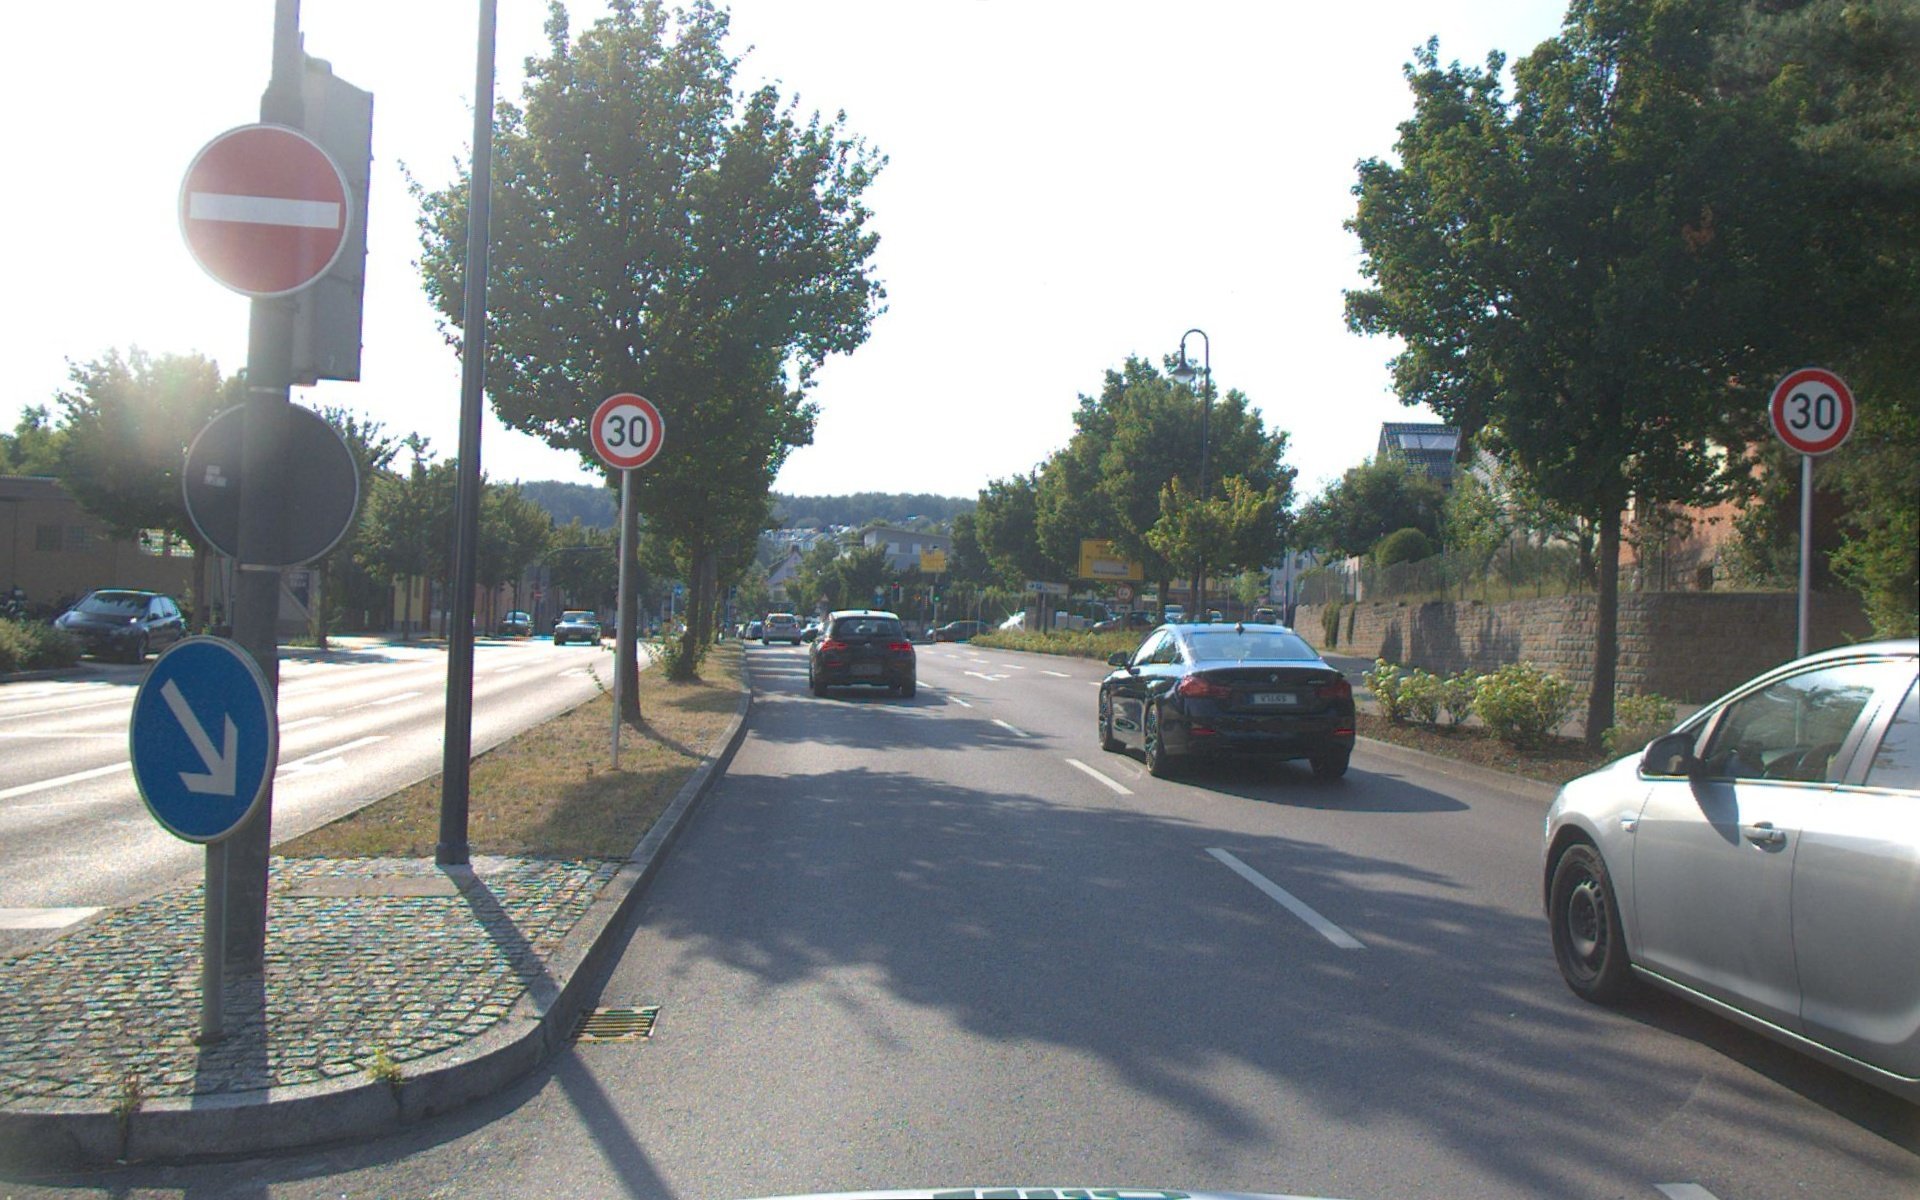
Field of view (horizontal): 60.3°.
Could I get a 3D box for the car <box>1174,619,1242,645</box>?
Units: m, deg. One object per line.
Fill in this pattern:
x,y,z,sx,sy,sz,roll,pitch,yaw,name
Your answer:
18.329,2.334,122.240,4.547,1.861,1.995,1,-1,-11,car

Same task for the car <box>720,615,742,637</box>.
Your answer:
-21.814,2.474,157.444,1.737,2.049,3.997,1,0,-3,car

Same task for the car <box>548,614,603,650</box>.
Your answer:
-15.616,1.297,67.353,1.723,1.385,4.477,1,0,-7,car

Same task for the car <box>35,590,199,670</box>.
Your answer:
-18.062,0.628,35.647,1.723,1.479,4.126,5,-1,-7,car

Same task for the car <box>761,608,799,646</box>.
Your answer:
-8.803,1.320,80.835,1.723,1.800,3.963,1,-1,-8,car

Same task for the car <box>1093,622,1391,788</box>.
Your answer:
2.569,0.916,16.143,1.883,1.388,4.349,1,-1,-4,car

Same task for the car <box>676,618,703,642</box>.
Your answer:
-19.743,2.194,120.740,1.697,1.708,3.994,1,-1,-6,car

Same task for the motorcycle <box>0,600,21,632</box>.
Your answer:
-34.331,0.577,58.816,0.505,1.126,1.636,0,-1,24,motorcycle

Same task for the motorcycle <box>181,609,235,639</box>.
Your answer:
-27.130,0.865,59.697,0.506,1.088,1.867,0,-1,28,motorcycle

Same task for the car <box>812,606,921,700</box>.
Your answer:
-1.590,0.886,29.373,1.686,1.516,4.352,1,0,-1,car

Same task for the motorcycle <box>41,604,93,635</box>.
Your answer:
-31.949,0.700,59.199,0.505,1.088,1.636,0,-1,24,motorcycle

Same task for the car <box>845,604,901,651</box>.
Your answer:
-3.548,1.088,66.632,1.889,1.800,4.446,1,-1,-8,car

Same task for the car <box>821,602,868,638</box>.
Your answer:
-6.099,1.030,86.975,2.175,1.800,4.446,1,-1,-8,car

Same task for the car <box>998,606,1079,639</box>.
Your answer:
5.259,1.501,110.985,5.025,2.167,2.137,1,-1,-16,car

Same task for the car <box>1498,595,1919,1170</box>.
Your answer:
3.336,0.749,5.220,1.687,1.516,4.304,1,0,-3,car

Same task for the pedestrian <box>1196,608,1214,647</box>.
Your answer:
11.124,1.250,75.156,0.681,1.732,0.950,1,-1,1,pedestrian
